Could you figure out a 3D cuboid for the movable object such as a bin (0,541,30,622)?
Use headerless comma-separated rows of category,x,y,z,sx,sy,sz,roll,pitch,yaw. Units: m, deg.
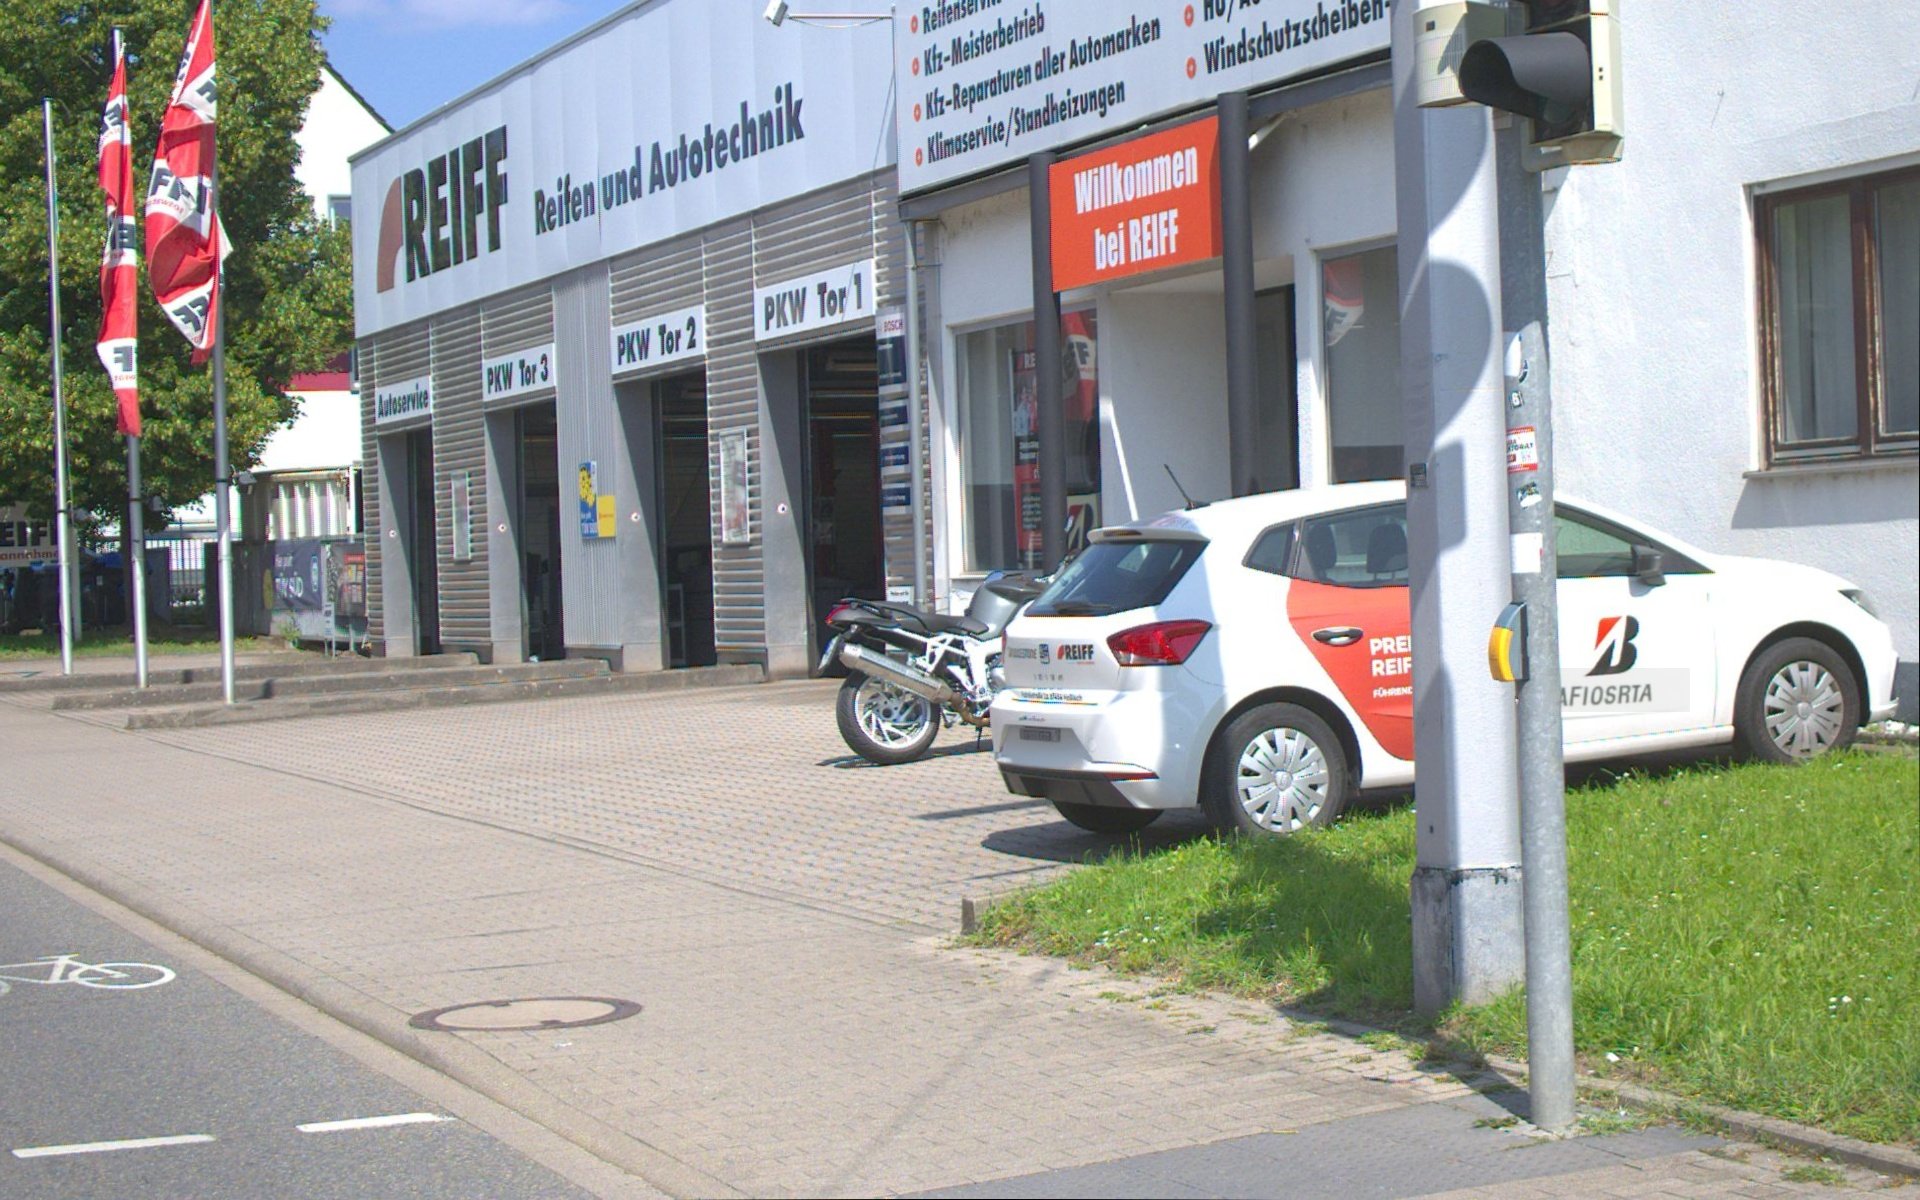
movable object such as a bin,-17.605,-0.307,61.920,1.384,1.425,0.990,-2,-1,2

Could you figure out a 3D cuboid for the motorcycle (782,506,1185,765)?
motorcycle,0.146,0.193,20.401,2.183,1.304,0.731,-6,2,-24

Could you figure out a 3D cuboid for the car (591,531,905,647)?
car,-2.816,-0.168,45.785,3.761,1.371,1.725,-3,1,-27

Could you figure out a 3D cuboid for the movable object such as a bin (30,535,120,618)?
movable object such as a bin,-15.958,-0.417,62.013,1.316,1.425,0.884,-2,-1,2

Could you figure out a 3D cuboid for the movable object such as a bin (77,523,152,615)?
movable object such as a bin,-14.868,-0.540,60.412,0.978,1.541,1.321,-2,-1,-26

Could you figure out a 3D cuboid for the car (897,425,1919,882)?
car,1.988,0.167,14.963,3.987,1.457,1.890,-6,3,-24
